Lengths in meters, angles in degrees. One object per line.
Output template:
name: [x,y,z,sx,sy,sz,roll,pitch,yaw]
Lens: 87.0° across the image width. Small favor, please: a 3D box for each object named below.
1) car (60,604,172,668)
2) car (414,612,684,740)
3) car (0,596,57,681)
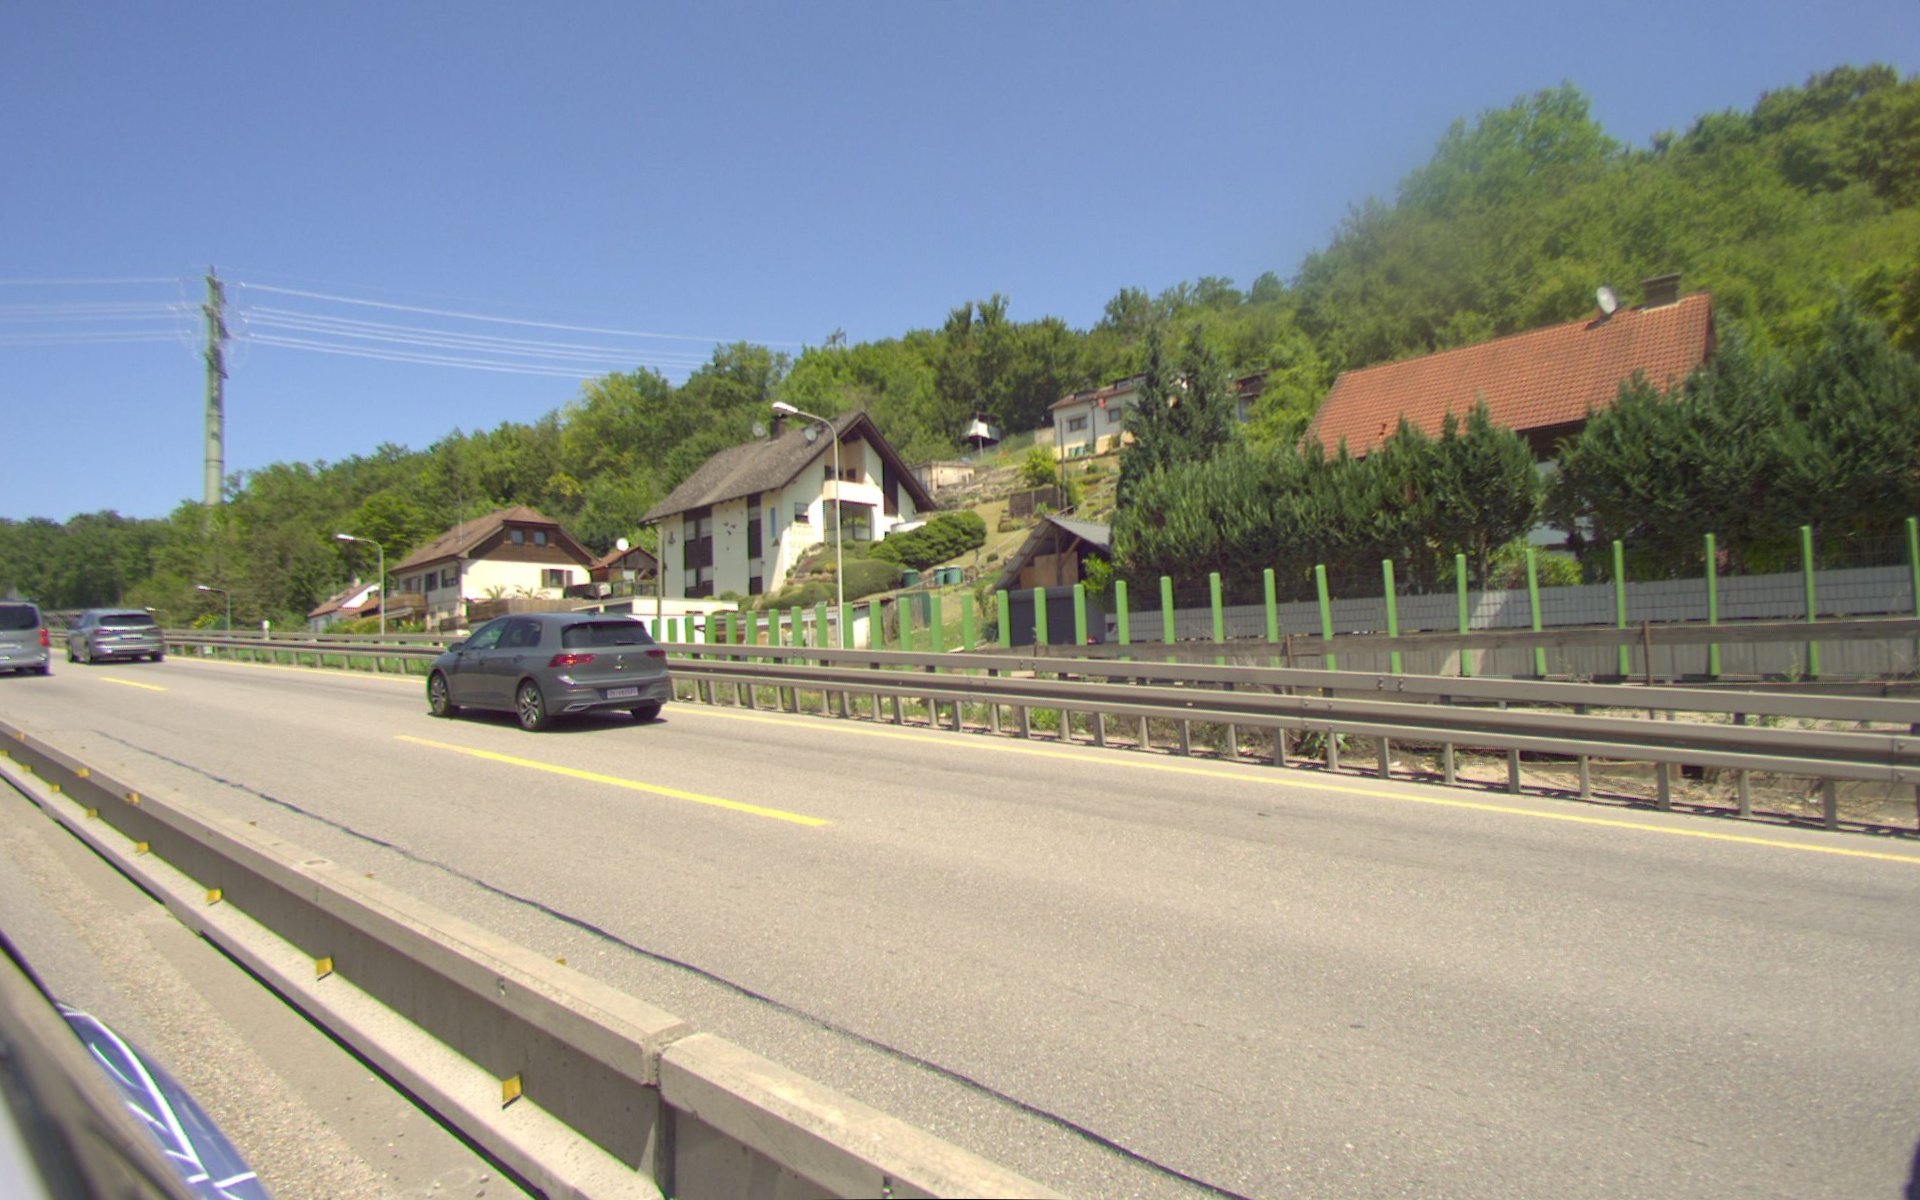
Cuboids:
car: [-26.328,1.072,31.518,4.506,1.841,1.973,-1,-1,41]
car: [-5.576,0.890,13.513,4.050,1.453,1.731,-1,-1,41]
car: [-24.689,0.939,25.722,4.967,2.029,1.972,-1,-2,42]
